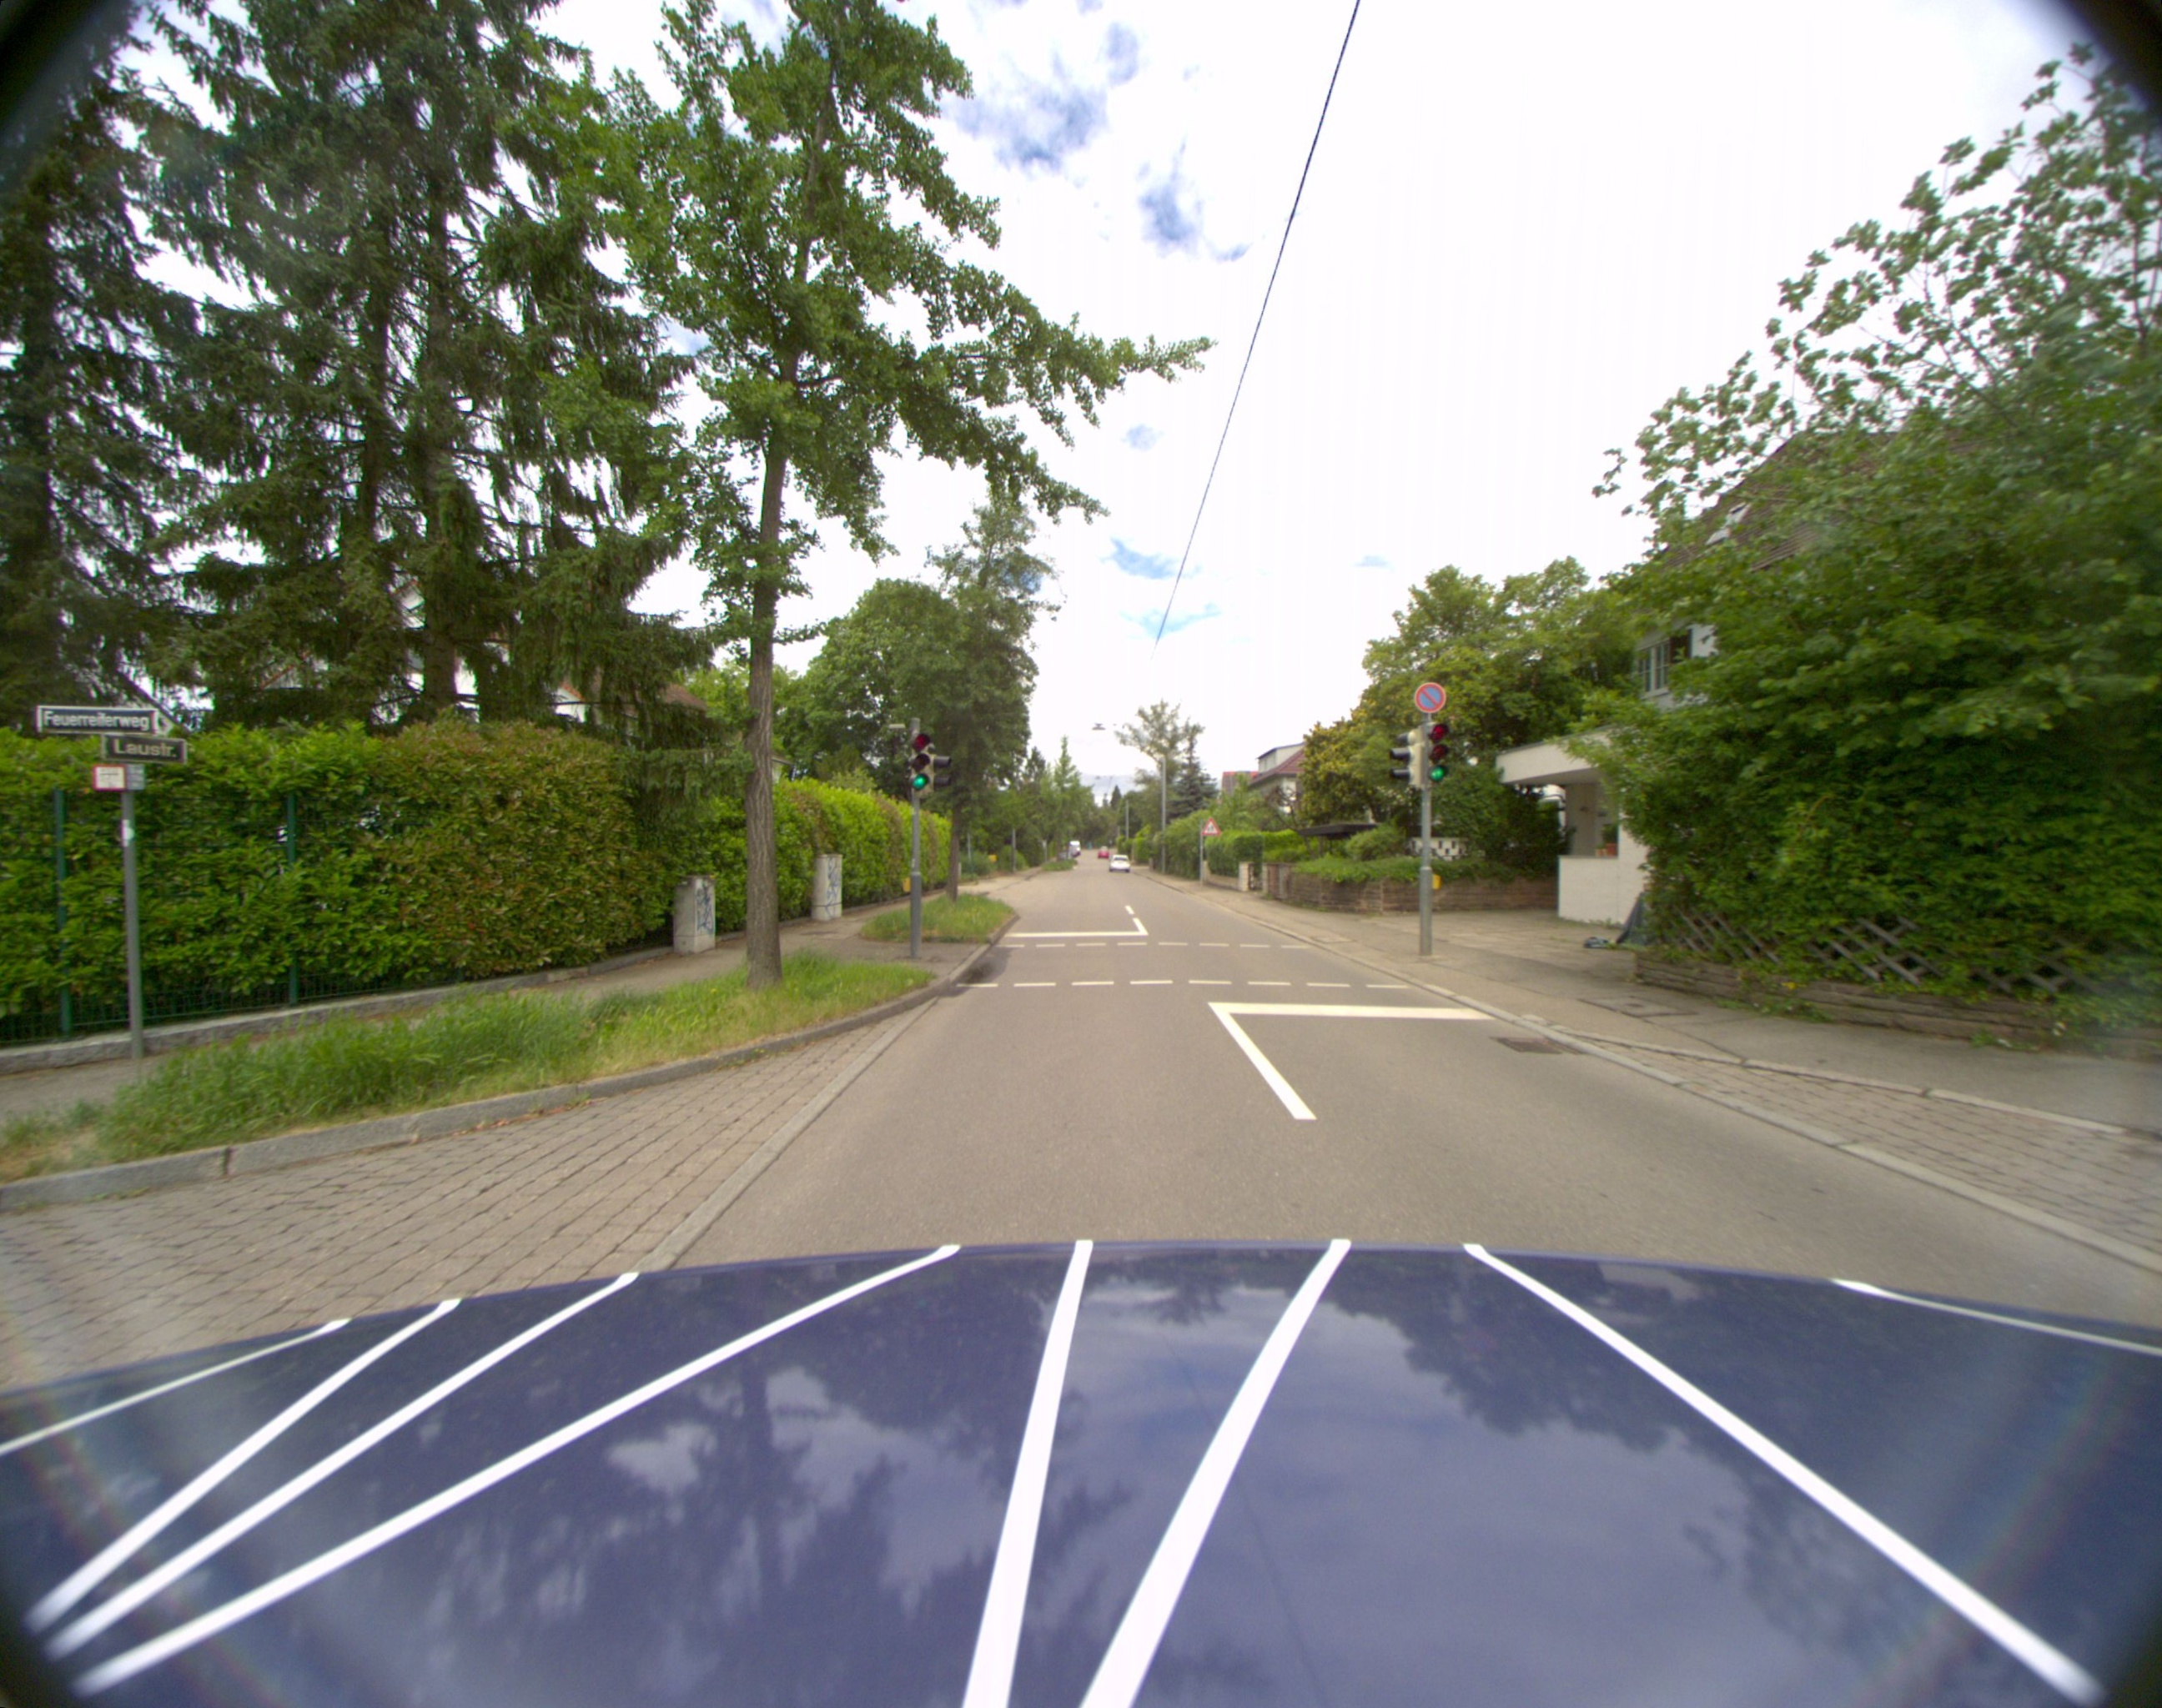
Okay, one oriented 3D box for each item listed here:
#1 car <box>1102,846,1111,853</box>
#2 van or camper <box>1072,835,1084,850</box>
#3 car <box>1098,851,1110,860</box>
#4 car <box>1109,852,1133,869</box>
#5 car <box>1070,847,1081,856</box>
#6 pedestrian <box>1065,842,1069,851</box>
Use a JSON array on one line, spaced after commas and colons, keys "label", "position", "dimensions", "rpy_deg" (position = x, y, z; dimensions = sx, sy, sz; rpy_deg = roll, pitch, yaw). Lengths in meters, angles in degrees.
[{"label": "car", "position": [5.247, -0.956, 157.848], "dimensions": [1.810, 1.423, 4.300], "rpy_deg": [1, 1, 0]}, {"label": "van or camper", "position": [-0.650, -2.186, 145.263], "dimensions": [2.046, 2.605, 7.035], "rpy_deg": [-1, 2, -1]}, {"label": "car", "position": [3.843, 0.239, 125.452], "dimensions": [1.810, 1.423, 4.118], "rpy_deg": [-2, 0, 0]}, {"label": "car", "position": [3.557, 0.546, 68.323], "dimensions": [1.859, 1.443, 4.281], "rpy_deg": [2, 1, -1]}, {"label": "car", "position": [-0.862, -0.445, 129.626], "dimensions": [1.683, 1.399, 4.054], "rpy_deg": [-2, 0, 1]}, {"label": "pedestrian", "position": [-2.623, -1.406, 144.474], "dimensions": [0.671, 1.689, 0.918], "rpy_deg": [1, 2, 2]}]
